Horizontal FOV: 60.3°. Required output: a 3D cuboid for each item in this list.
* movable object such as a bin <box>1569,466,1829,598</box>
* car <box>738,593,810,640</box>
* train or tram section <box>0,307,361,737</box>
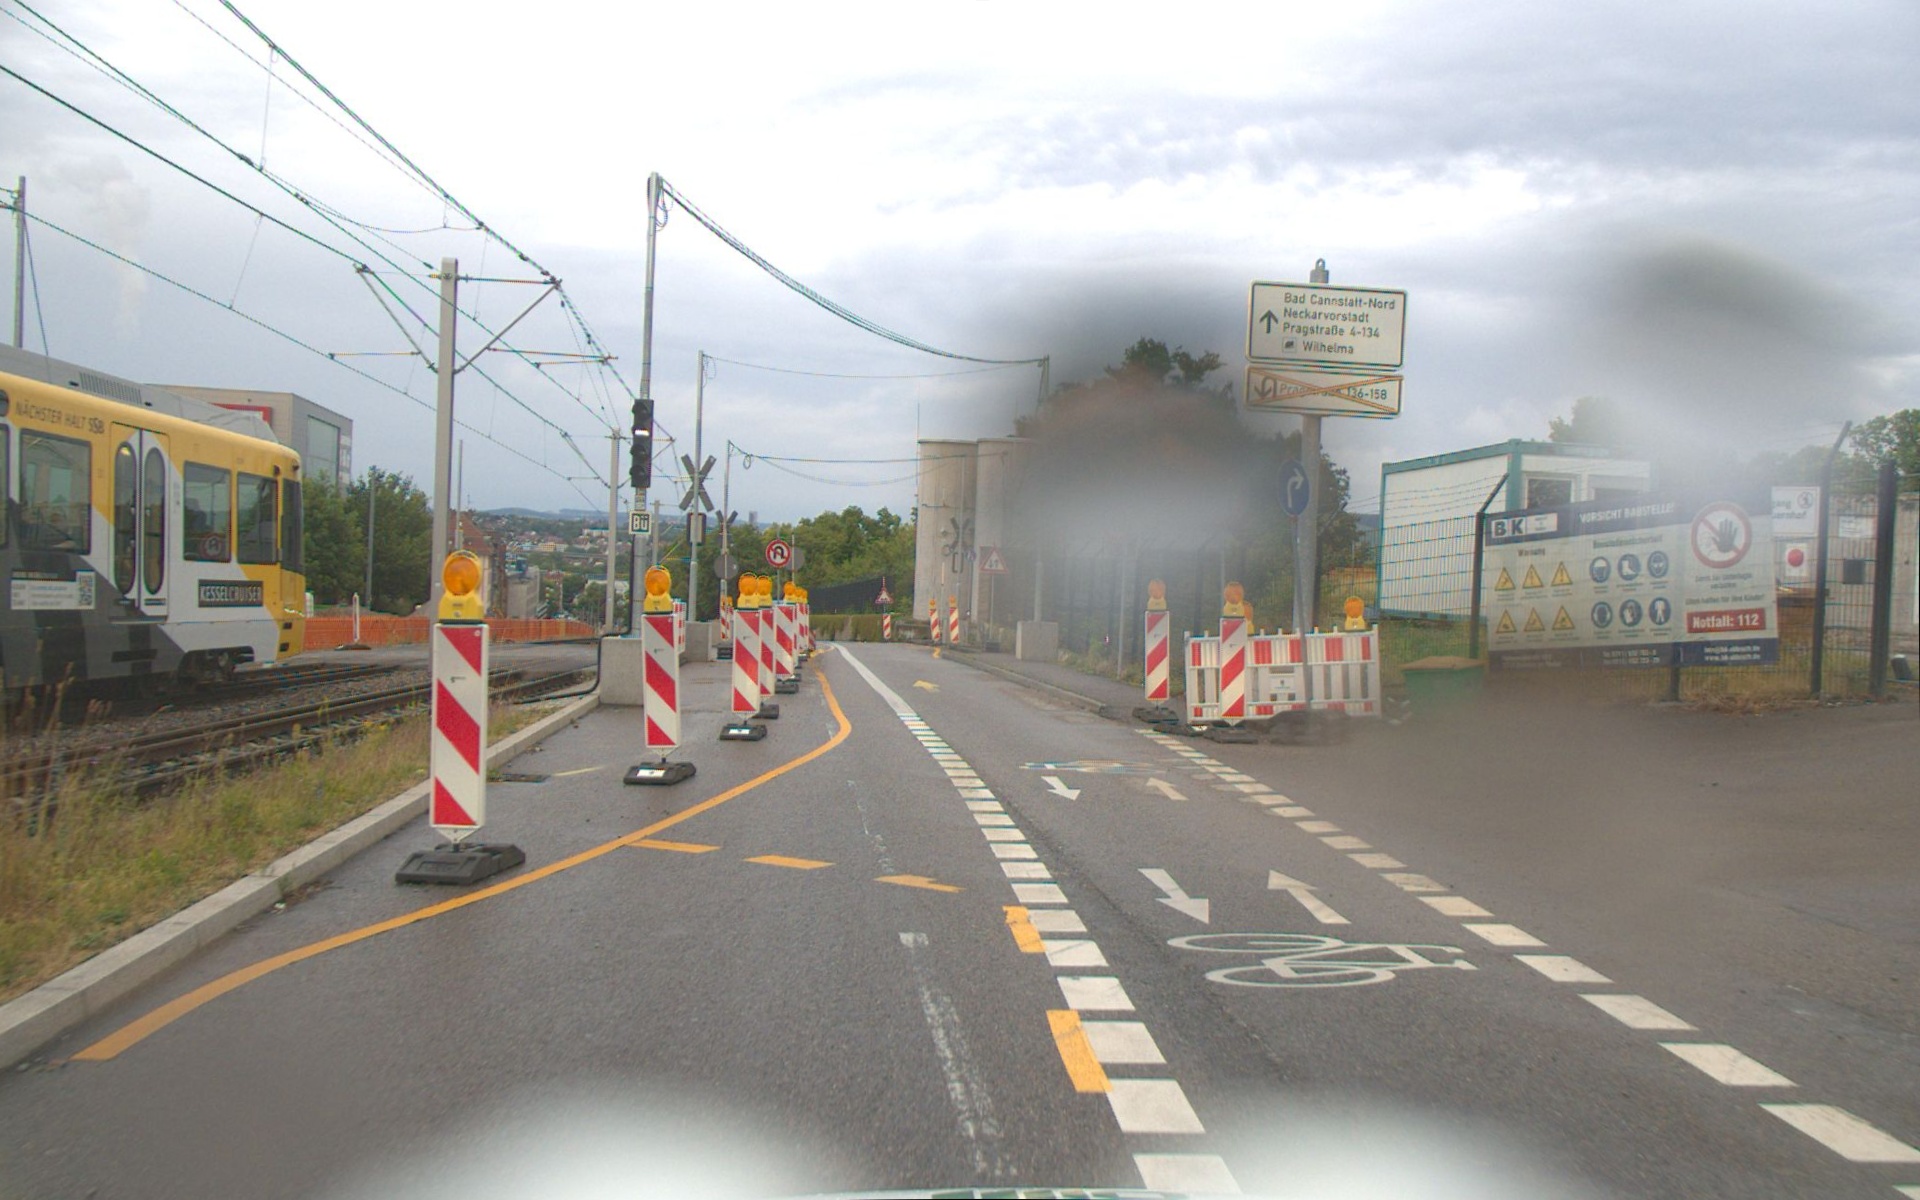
[{"bbox_3d":[36.046,-3.271,81.074,10.994,6.100,3.493,1,0,5],"label":"movable object such as a bin"},{"bbox_3d":[-7.193,0.614,63.651,1.962,1.707,4.467,1,-1,-17],"label":"car"},{"bbox_3d":[-10.333,-0.779,15.821,2.896,3.953,19.280,3,0,-3],"label":"train or tram section"}]
